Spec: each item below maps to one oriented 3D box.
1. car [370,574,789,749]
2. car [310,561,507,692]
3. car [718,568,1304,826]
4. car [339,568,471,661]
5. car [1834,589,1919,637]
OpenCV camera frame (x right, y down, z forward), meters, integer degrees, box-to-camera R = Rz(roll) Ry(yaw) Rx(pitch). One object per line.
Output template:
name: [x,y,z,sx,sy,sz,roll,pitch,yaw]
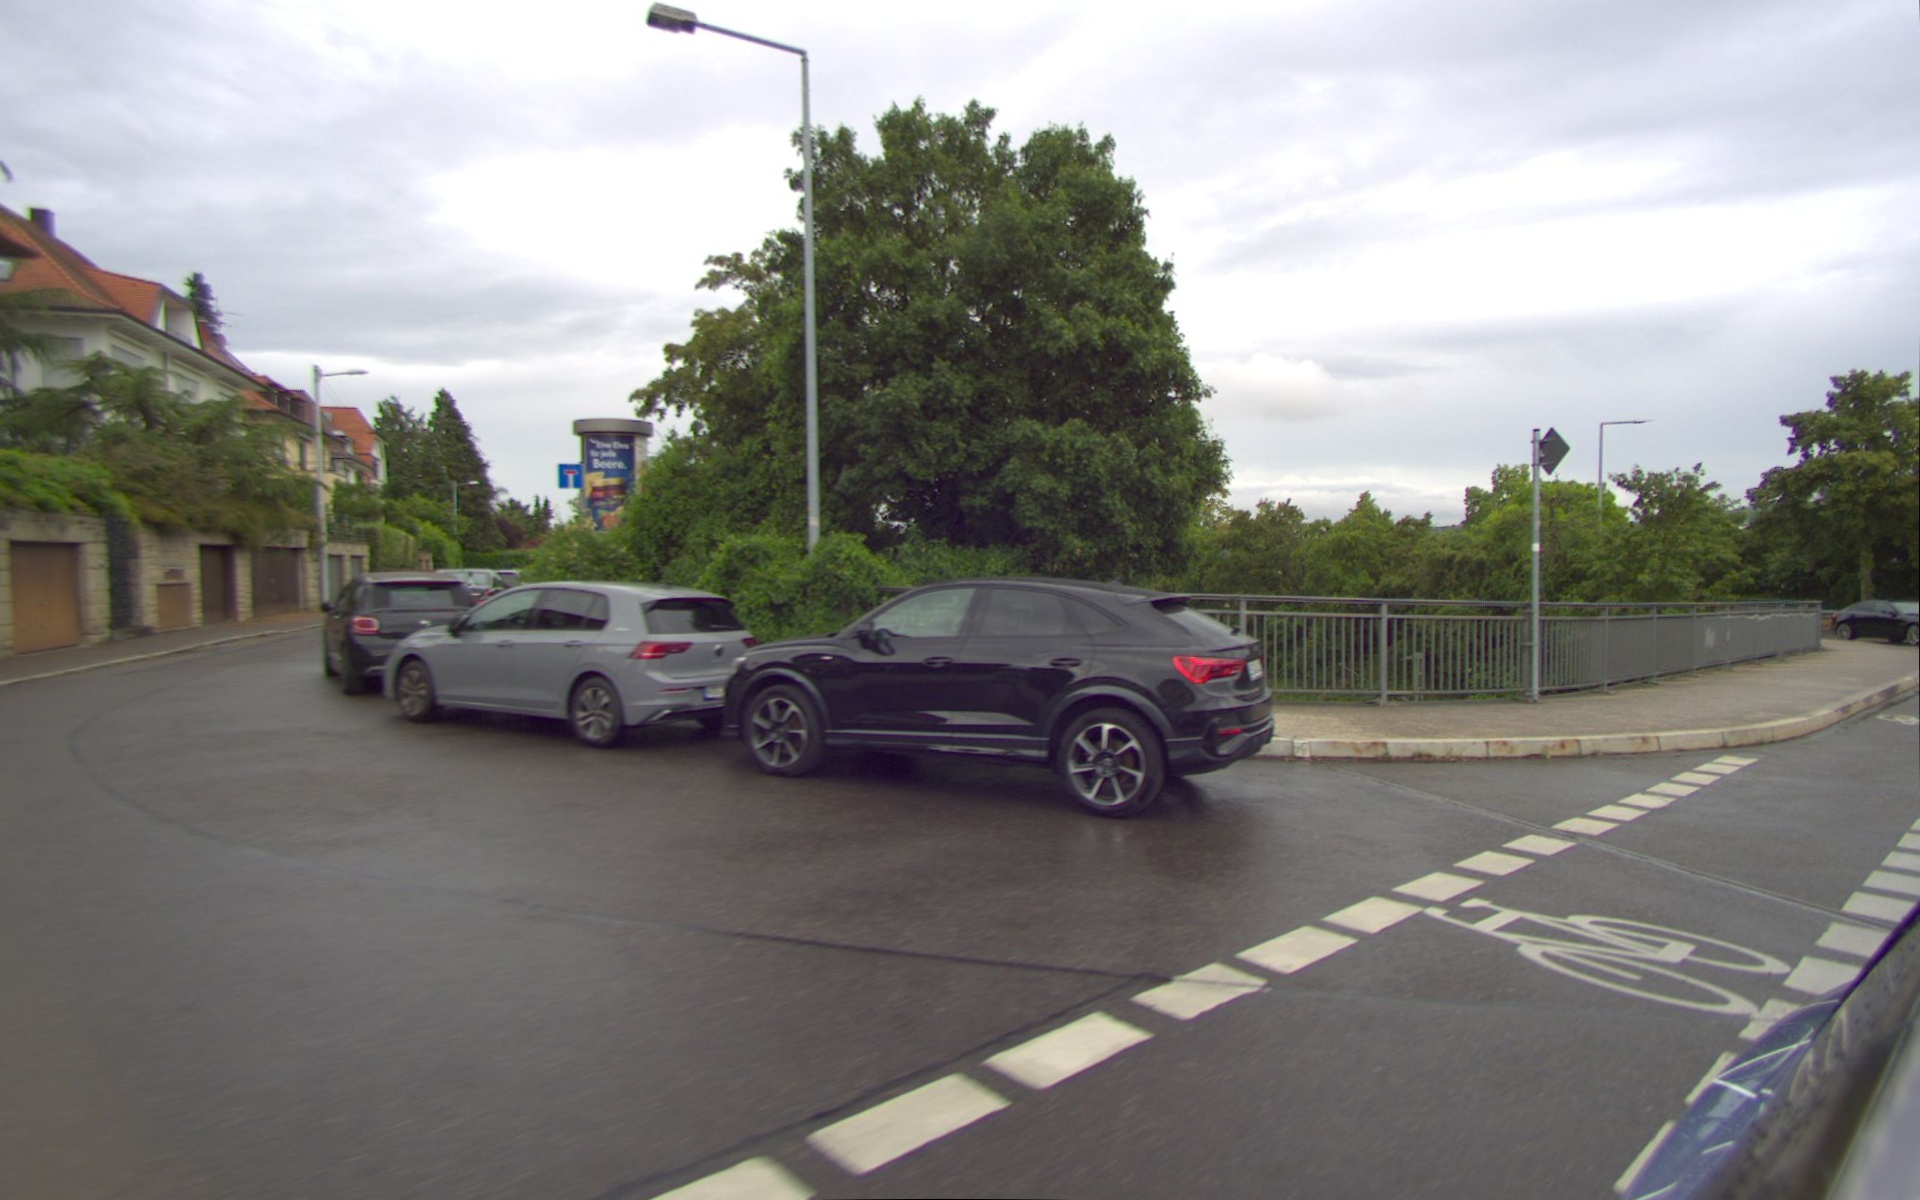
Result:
car: [-3.869,0.468,10.195,4.019,1.443,1.784,1,2,29]
car: [-7.554,0.262,13.710,1.807,1.507,3.601,1,1,-37]
car: [0.392,0.559,7.920,4.159,1.542,1.982,1,0,26]
car: [-9.977,0.170,18.423,1.727,1.507,3.610,-1,2,-23]
car: [30.641,0.433,32.362,1.736,1.472,4.395,2,1,4]
